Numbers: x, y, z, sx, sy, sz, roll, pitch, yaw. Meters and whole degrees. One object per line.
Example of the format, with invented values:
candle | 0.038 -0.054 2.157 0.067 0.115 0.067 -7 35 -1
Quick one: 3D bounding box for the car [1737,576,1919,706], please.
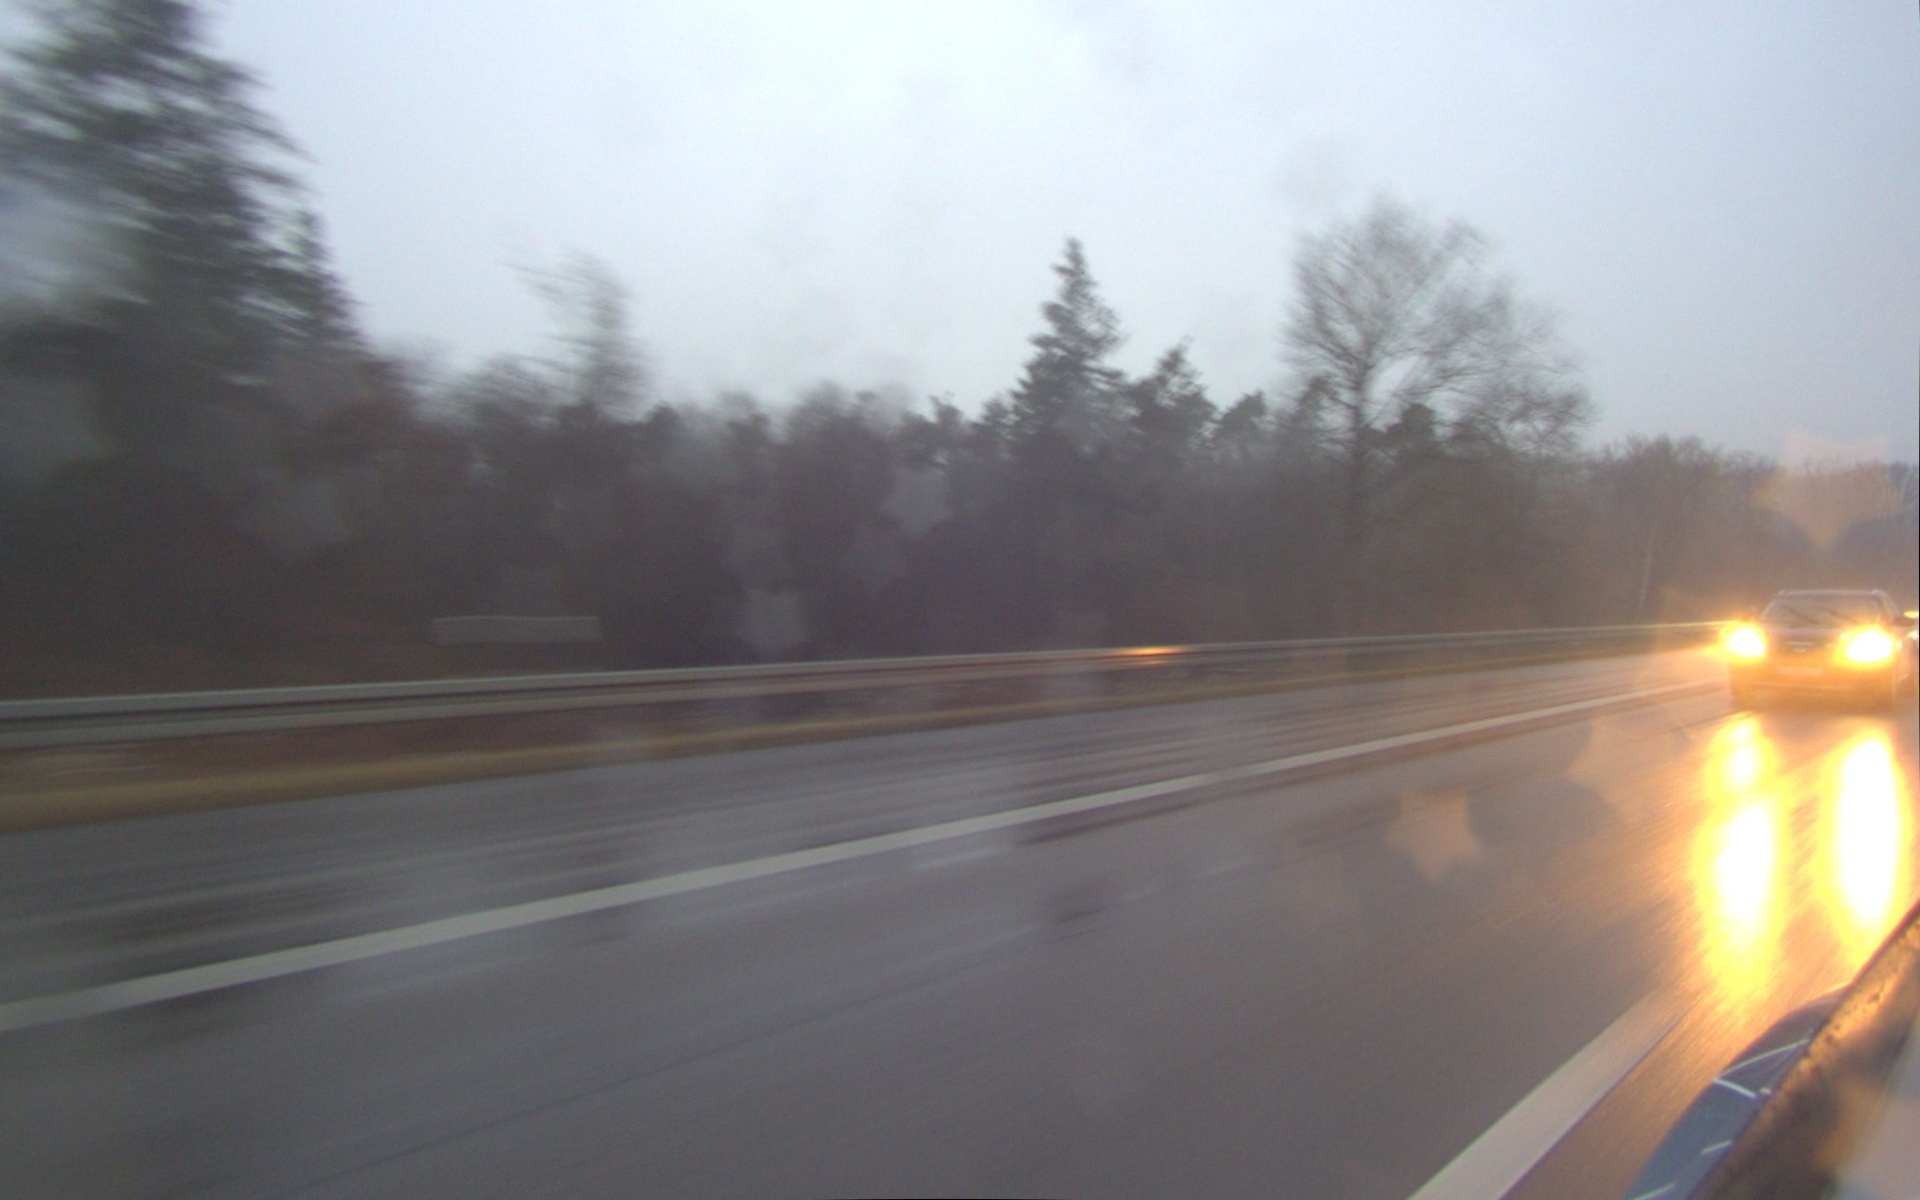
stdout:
car | 13.774 0.527 15.564 4.383 1.719 2.074 0 0 -41
